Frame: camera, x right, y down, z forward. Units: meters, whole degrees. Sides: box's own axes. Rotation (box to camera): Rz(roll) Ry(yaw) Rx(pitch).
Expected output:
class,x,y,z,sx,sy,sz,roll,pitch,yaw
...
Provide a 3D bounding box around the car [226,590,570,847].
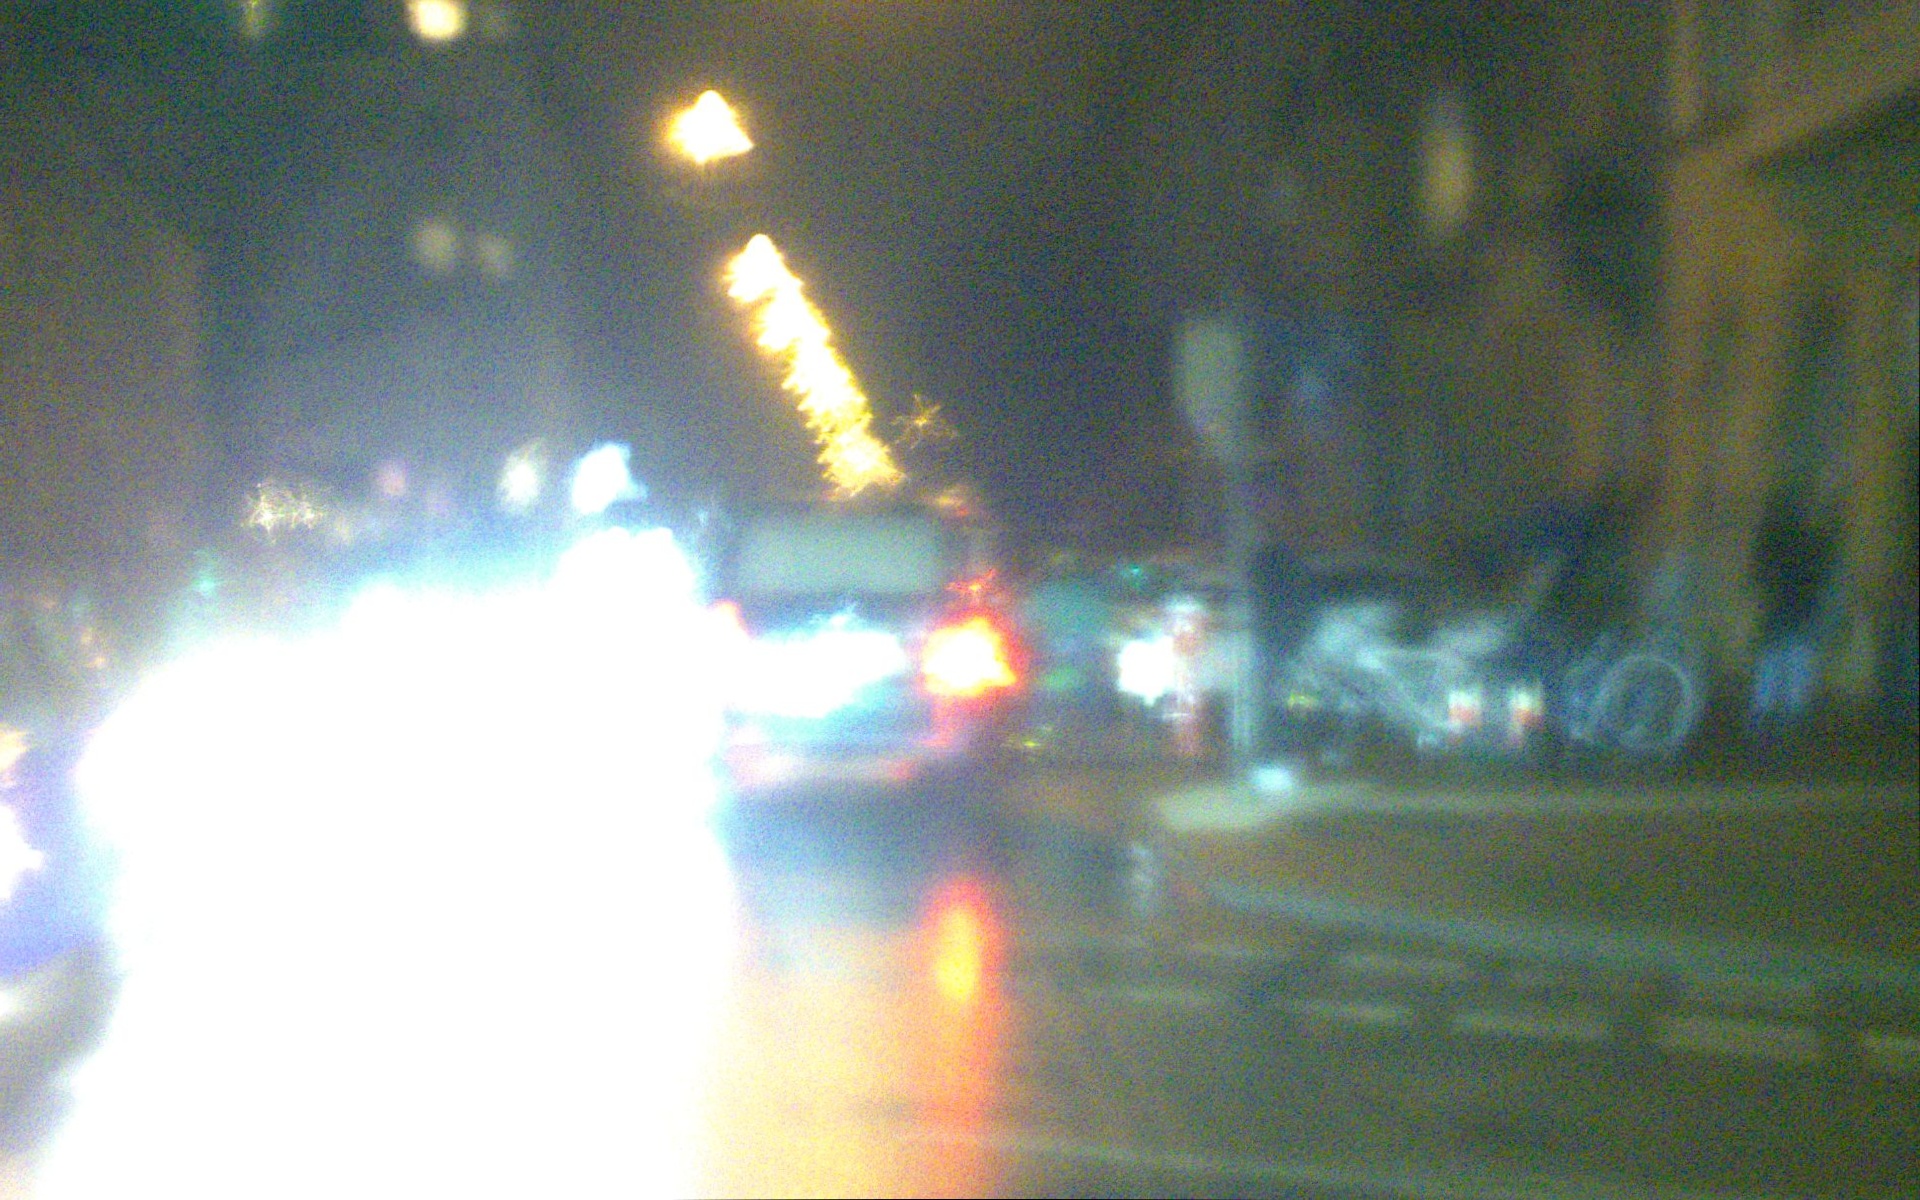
class,x,y,z,sx,sy,sz,roll,pitch,yaw
car,-3.506,0.687,22.080,1.668,1.416,4.098,0,1,-2

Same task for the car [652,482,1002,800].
class,x,y,z,sx,sy,sz,roll,pitch,yaw
car,-0.872,0.208,23.467,2.168,1.965,4.302,0,1,-1

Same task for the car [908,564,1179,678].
class,x,y,z,sx,sy,sz,roll,pitch,yaw
car,1.368,0.300,55.153,4.173,1.639,1.769,-3,2,-39

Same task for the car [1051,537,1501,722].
class,x,y,z,sx,sy,sz,roll,pitch,yaw
car,3.094,0.230,33.196,4.173,1.571,1.881,-3,2,-39

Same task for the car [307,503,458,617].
class,x,y,z,sx,sy,sz,roll,pitch,yaw
car,-10.374,-0.734,61.568,1.990,1.965,4.303,0,1,-19

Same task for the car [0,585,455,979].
class,x,y,z,sx,sy,sz,roll,pitch,yaw
car,-3.475,0.745,16.189,1.668,1.557,4.008,0,1,-1

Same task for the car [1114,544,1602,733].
class,x,y,z,sx,sy,sz,roll,pitch,yaw
car,3.551,0.283,30.274,4.173,1.452,1.857,-3,2,-39

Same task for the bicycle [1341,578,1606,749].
class,x,y,z,sx,sy,sz,roll,pitch,yaw
bicycle,3.948,0.480,26.470,1.896,1.247,0.596,-2,1,-6

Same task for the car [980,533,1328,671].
class,x,y,z,sx,sy,sz,roll,pitch,yaw
car,2.544,-0.005,45.118,4.171,1.639,1.770,-2,2,-22

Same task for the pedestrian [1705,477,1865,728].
class,x,y,z,sx,sy,sz,roll,pitch,yaw
pedestrian,6.272,0.010,26.186,0.957,1.875,1.000,0,1,-1

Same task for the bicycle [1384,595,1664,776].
class,x,y,z,sx,sy,sz,roll,pitch,yaw
bicycle,4.104,0.615,25.077,1.896,1.247,0.596,-2,1,-6

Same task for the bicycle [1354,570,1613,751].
class,x,y,z,sx,sy,sz,roll,pitch,yaw
bicycle,4.123,0.464,27.110,1.896,1.355,0.596,-2,1,-6

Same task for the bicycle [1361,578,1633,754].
class,x,y,z,sx,sy,sz,roll,pitch,yaw
bicycle,4.020,0.487,25.799,1.896,1.247,0.596,-2,1,-6

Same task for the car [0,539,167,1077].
class,x,y,z,sx,sy,sz,roll,pitch,yaw
car,-3.641,0.585,10.479,1.706,1.537,3.989,0,1,-3

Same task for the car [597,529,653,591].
class,x,y,z,sx,sy,sz,roll,pitch,yaw
car,-10.924,-1.321,112.299,1.724,1.965,4.222,1,1,-5

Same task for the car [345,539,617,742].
class,x,y,z,sx,sy,sz,roll,pitch,yaw
car,-3.951,0.271,29.066,1.787,1.549,4.855,0,1,-2

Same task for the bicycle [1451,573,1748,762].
class,x,y,z,sx,sy,sz,roll,pitch,yaw
bicycle,4.488,0.463,24.179,1.896,1.247,0.711,-2,1,-6

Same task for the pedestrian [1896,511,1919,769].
class,x,y,z,sx,sy,sz,roll,pitch,yaw
pedestrian,6.402,0.250,21.533,0.781,1.612,1.000,0,1,-1

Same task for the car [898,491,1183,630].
class,x,y,z,sx,sy,sz,roll,pitch,yaw
car,1.506,-0.762,63.064,4.995,2.383,2.139,-3,2,-39
